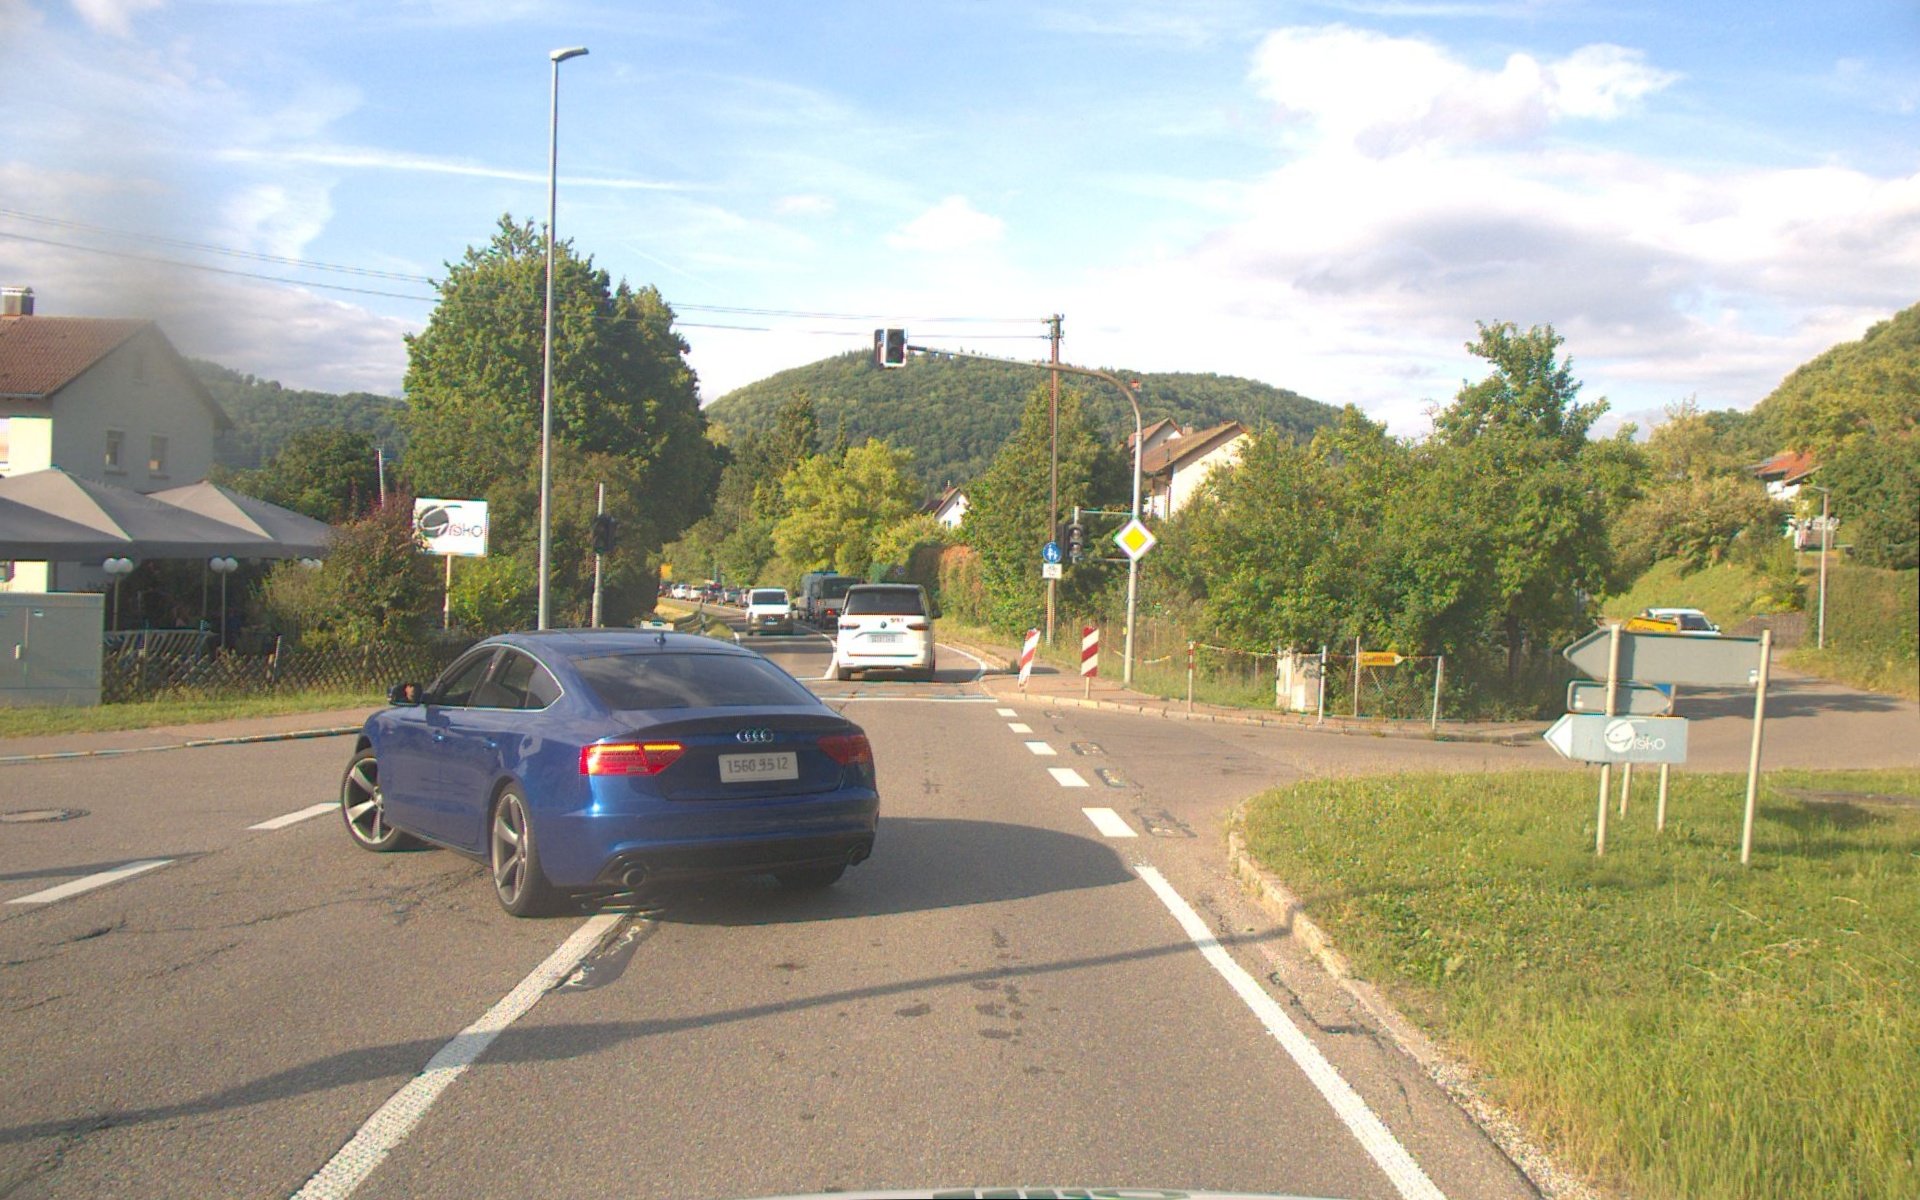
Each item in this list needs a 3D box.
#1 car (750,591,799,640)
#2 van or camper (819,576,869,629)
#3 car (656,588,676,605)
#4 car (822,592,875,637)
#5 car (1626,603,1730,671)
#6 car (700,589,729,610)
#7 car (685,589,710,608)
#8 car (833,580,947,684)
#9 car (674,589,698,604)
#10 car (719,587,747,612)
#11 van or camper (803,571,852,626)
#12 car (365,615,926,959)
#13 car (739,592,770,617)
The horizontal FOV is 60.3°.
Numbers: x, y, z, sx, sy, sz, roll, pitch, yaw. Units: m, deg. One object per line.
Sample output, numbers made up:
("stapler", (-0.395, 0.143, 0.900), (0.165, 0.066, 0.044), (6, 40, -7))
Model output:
("car", (-7.856, 0.613, 69.692), (1.956, 1.937, 5.245), (-1, 1, -7))
("van or camper", (-5.538, 0.092, 78.368), (2.138, 2.427, 5.362), (0, 0, -6))
("car", (-31.442, -0.409, 177.063), (1.743, 1.814, 3.983), (0, 0, -16))
("car", (-4.462, 0.562, 65.791), (1.955, 1.713, 3.995), (0, 0, -6))
("car", (19.154, 0.938, 44.306), (1.828, 1.638, 4.575), (1, 1, 15))
("car", (-21.850, -0.053, 147.101), (2.007, 1.713, 3.984), (1, 1, -15))
("car", (-24.738, -0.118, 155.582), (1.910, 1.713, 3.983), (0, 0, -15))
("car", (-1.371, 0.593, 34.224), (1.952, 1.909, 4.872), (3, 1, 1))
("car", (-27.223, -0.326, 164.208), (1.910, 1.449, 3.984), (0, 0, -15))
("car", (-19.036, -0.056, 138.564), (1.960, 2.049, 3.985), (0, 0, -14))
("van or camper", (-7.458, -0.087, 92.594), (2.369, 2.955, 6.120), (0, 0, -8))
("car", (-2.005, 0.822, 9.360), (1.811, 1.434, 4.182), (0, 0, -31))
("car", (-16.030, 0.321, 128.719), (1.767, 1.825, 3.983), (2, 1, -16))
